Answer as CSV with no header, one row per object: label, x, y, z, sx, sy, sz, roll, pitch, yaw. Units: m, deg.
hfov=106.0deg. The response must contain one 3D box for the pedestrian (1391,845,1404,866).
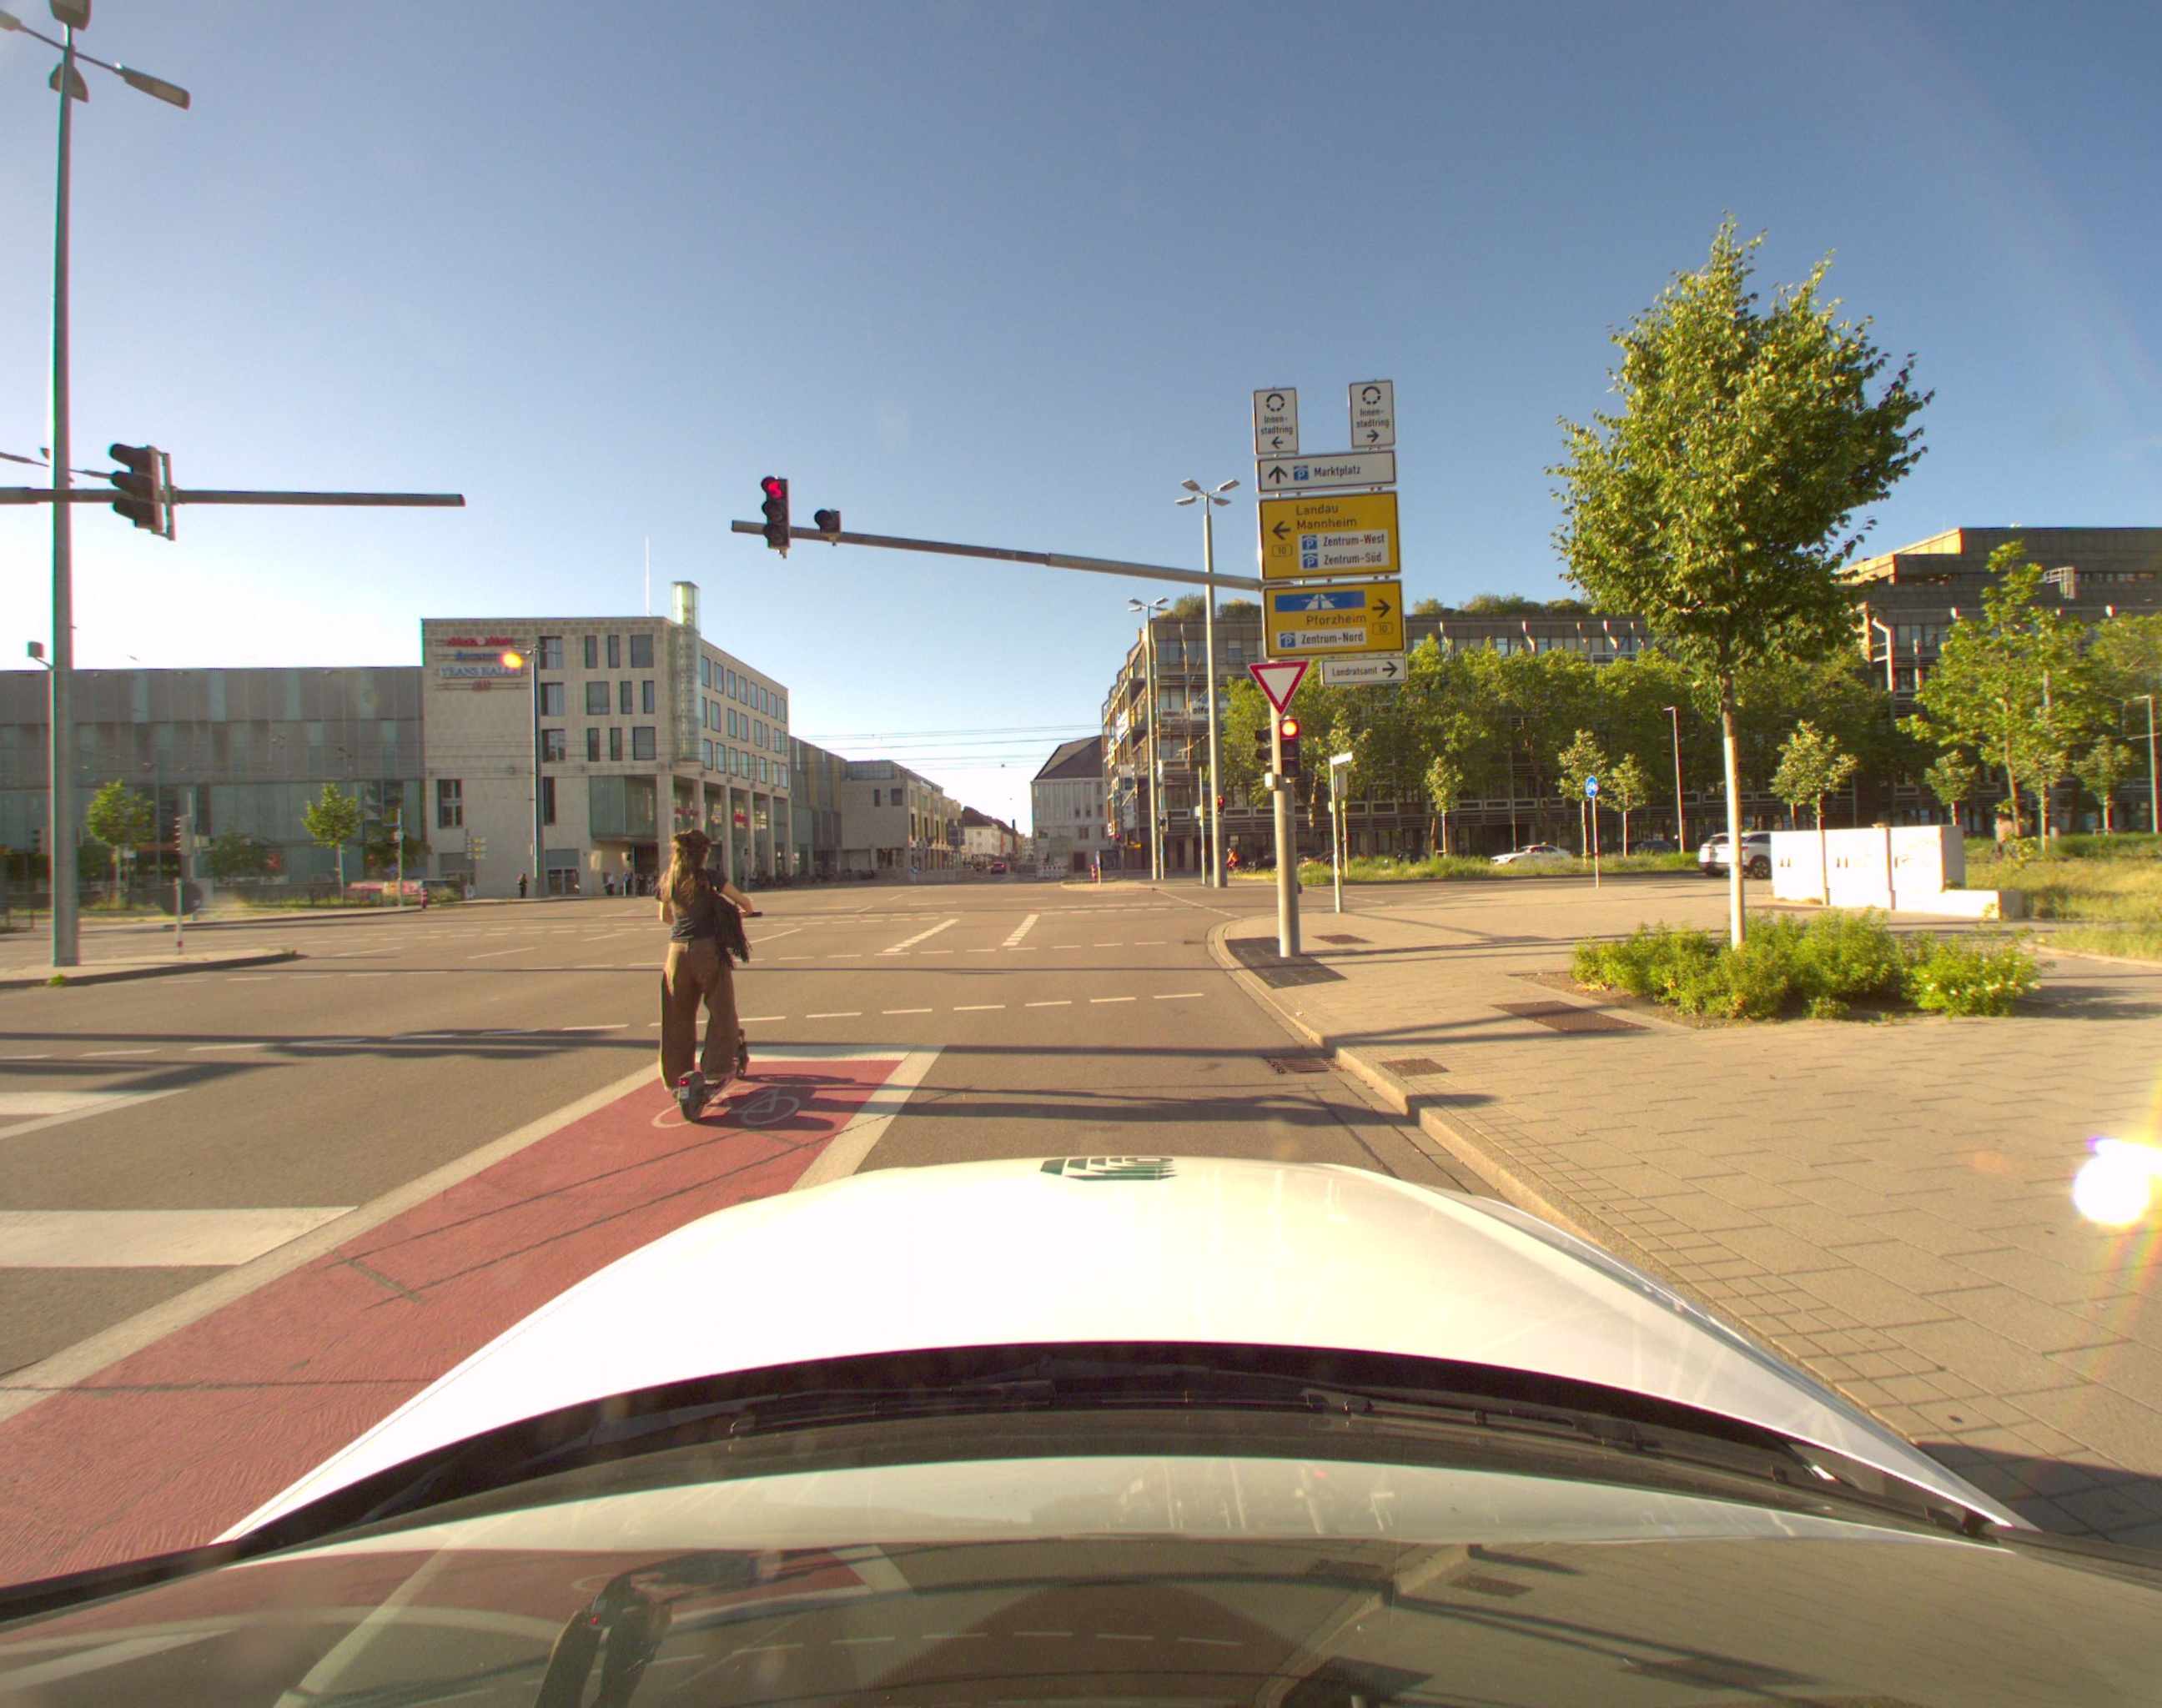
pedestrian,25.220,0.148,64.929,0.662,1.658,0.739,-2,0,-5

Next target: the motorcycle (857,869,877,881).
motorcycle,-25.966,2.536,98.866,2.269,1.318,0.719,-2,0,-4

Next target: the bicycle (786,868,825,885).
bicycle,-27.408,2.227,81.160,3.491,1.527,0.984,-2,0,-10

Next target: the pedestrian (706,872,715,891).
pedestrian,-32.317,2.414,71.018,0.480,1.585,0.513,-2,0,-3

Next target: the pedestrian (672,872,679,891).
pedestrian,-33.866,2.316,68.040,0.385,1.585,0.367,-2,0,-3

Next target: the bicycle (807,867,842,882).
bicycle,-27.921,2.212,88.578,3.491,1.527,0.984,-2,0,-10

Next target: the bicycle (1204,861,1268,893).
bicycle,8.929,1.314,47.066,3.488,1.659,0.929,-2,0,-7

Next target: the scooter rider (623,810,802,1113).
scooter rider,-2.316,0.635,5.221,0.726,1.775,0.811,-1,0,1

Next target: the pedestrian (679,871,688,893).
pedestrian,-30.246,2.150,61.910,0.543,1.642,0.546,-2,0,-23

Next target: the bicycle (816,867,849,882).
bicycle,-28.288,2.329,92.779,3.491,1.527,0.984,-2,0,-10

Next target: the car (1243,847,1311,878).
car,12.842,0.559,53.622,3.975,2.014,1.999,0,-1,-1

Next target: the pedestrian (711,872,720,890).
pedestrian,-32.211,2.388,71.725,0.480,1.510,0.513,-2,0,-3

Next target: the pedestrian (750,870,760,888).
pedestrian,-30.456,2.311,76.085,0.788,1.642,0.689,-2,0,-27

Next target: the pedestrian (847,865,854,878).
pedestrian,-30.054,2.219,106.058,0.696,1.642,0.693,-2,0,-9

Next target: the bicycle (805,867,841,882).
bicycle,-27.651,2.212,87.449,3.491,1.527,0.984,-2,0,-10

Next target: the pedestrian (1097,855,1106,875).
pedestrian,1.772,0.931,69.719,0.661,1.658,0.755,-2,0,-1

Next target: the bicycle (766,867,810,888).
bicycle,-26.318,2.116,73.175,3.488,1.696,1.114,-2,0,-7

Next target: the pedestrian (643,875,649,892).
pedestrian,-35.458,2.393,66.357,0.388,1.426,0.499,-2,0,-23

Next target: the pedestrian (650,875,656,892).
pedestrian,-35.041,2.400,66.705,0.388,1.412,0.434,-2,0,-27

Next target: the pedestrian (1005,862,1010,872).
pedestrian,-9.750,1.734,108.667,0.608,1.411,0.569,-2,0,-5

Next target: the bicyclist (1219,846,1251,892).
bicyclist,8.888,0.854,47.070,1.566,2.580,0.929,-2,0,-7

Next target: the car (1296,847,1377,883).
car,14.455,0.618,46.208,3.975,2.014,1.999,0,-1,-1

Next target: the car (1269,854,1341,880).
car,13.854,0.781,50.474,3.976,1.508,1.867,-1,0,-2

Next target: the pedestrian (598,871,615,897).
pedestrian,-34.131,2.156,58.595,0.756,1.798,0.735,-2,0,-6

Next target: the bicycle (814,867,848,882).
bicycle,-28.171,2.292,91.748,3.491,1.527,0.984,-2,0,-10

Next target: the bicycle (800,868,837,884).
bicycle,-27.546,2.292,85.581,3.491,1.527,0.984,-2,0,-10

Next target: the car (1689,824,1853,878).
car,23.704,-0.131,28.055,4.393,1.660,1.993,-2,1,-11

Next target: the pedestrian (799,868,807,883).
pedestrian,-30.190,2.350,88.533,0.652,1.642,0.693,-2,0,-7

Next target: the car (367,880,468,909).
car,-40.659,2.438,49.996,4.456,1.607,1.998,-1,0,-3

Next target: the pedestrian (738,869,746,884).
pedestrian,-33.554,2.264,80.526,0.640,1.435,0.472,-2,0,-21

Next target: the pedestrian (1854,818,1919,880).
pedestrian,22.107,-0.133,22.365,0.801,1.630,0.939,-2,0,-12

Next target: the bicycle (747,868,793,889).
bicycle,-26.908,2.114,70.492,3.488,1.696,1.114,-2,0,-7

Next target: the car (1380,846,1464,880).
car,21.407,0.560,51.246,4.435,2.014,1.998,0,-1,-4

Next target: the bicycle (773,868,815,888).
bicycle,-26.678,2.181,75.761,3.491,1.696,0.984,-2,0,-10

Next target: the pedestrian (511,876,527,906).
pedestrian,-32.606,2.150,47.263,0.525,1.694,0.546,-2,0,-8

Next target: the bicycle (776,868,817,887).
bicycle,-26.854,2.199,76.857,3.491,1.696,0.984,-2,0,-10

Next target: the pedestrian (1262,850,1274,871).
pedestrian,15.295,0.529,66.555,0.728,1.658,0.649,-2,0,-5

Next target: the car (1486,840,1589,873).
car,28.895,0.142,51.652,5.424,2.014,2.097,0,-1,-1

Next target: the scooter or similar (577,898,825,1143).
scooter or similar,-2.285,0.933,5.170,0.725,1.202,1.665,-1,0,2

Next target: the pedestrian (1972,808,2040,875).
pedestrian,24.630,-0.329,21.704,0.694,1.728,0.939,-2,0,-12

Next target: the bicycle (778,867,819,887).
bicycle,-27.042,2.211,78.066,3.491,1.696,0.984,-2,0,-10

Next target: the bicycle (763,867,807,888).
bicycle,-26.142,2.070,71.954,3.488,1.696,1.114,-2,0,-7

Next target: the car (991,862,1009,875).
car,-10.789,1.883,108.861,2.195,1.607,4.320,-2,0,-4

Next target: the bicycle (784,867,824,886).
bicycle,-27.247,2.235,80.163,3.491,1.696,0.984,-2,0,-10

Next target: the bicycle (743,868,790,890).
bicycle,-26.730,2.097,69.293,3.488,1.696,1.114,-2,0,-7
